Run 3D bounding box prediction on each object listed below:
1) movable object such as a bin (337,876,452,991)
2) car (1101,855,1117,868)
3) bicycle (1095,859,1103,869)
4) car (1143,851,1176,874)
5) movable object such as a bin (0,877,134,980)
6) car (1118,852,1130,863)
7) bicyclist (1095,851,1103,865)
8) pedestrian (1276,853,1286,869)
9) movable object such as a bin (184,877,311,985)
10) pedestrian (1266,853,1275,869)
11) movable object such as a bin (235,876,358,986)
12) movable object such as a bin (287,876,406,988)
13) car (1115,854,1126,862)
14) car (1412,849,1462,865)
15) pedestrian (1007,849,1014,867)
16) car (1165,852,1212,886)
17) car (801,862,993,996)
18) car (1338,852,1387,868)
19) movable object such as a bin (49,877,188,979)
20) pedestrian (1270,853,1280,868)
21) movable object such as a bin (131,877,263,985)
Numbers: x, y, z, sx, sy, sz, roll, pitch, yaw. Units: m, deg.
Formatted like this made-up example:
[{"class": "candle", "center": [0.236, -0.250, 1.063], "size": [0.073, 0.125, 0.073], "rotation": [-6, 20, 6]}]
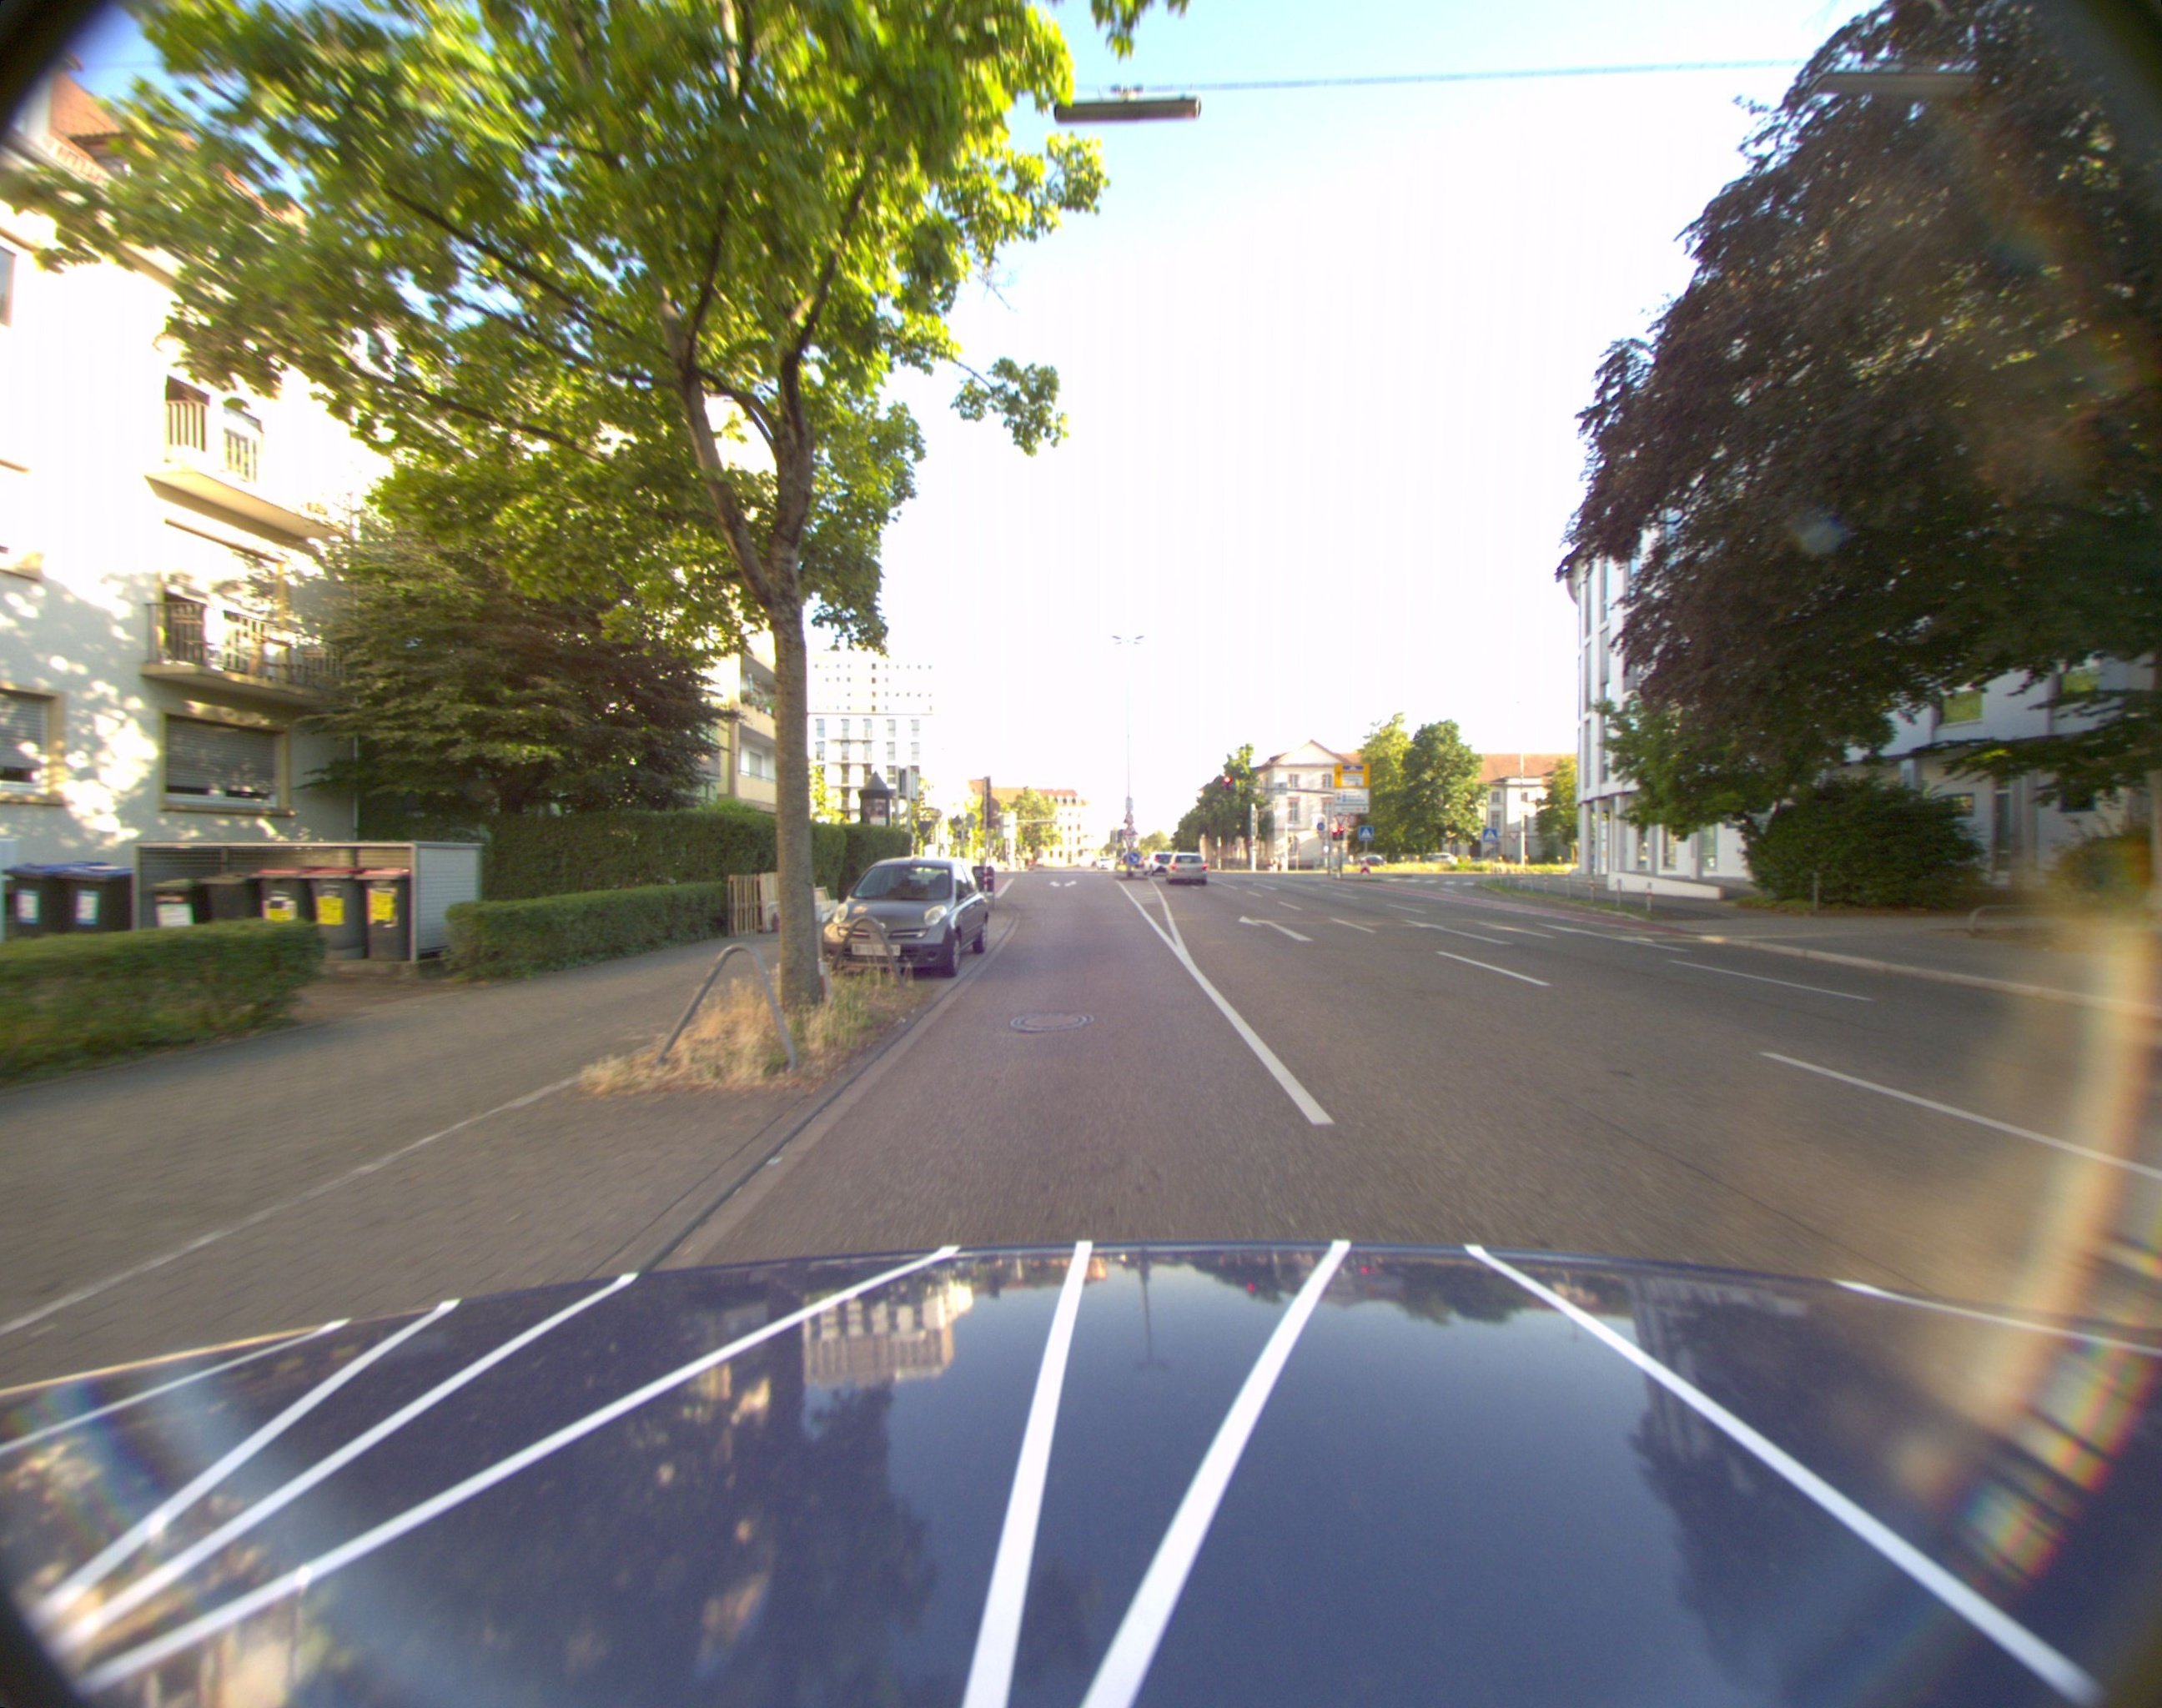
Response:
[{"class": "movable object such as a bin", "center": [-7.858, 0.885, 8.733], "size": [0.554, 1.232, 0.828], "rotation": [0, 0, 1]}, {"class": "car", "center": [3.243, 0.839, 88.368], "size": [1.764, 1.489, 3.708], "rotation": [0, 0, 1]}, {"class": "bicycle", "center": [2.004, 1.087, 83.960], "size": [0.833, 1.101, 2.080], "rotation": [0, 0, -1]}, {"class": "car", "center": [5.048, 0.531, 49.371], "size": [1.832, 1.452, 3.902], "rotation": [0, 0, 1]}, {"class": "movable object such as a bin", "center": [-11.790, 0.837, 8.813], "size": [0.554, 1.116, 0.828], "rotation": [0, 0, 1]}, {"class": "car", "center": [7.272, 0.517, 128.693], "size": [1.832, 1.836, 4.947], "rotation": [0, 0, 0]}, {"class": "bicyclist", "center": [1.999, 0.463, 83.971], "size": [0.838, 1.594, 1.023], "rotation": [0, 0, -1]}, {"class": "pedestrian", "center": [20.618, 0.705, 78.243], "size": [0.678, 1.641, 0.882], "rotation": [0, 0, -8]}, {"class": "movable object such as a bin", "center": [-9.672, 0.867, 8.851], "size": [0.554, 1.187, 0.828], "rotation": [0, 0, 1]}, {"class": "pedestrian", "center": [19.530, 0.747, 78.217], "size": [0.621, 1.641, 0.889], "rotation": [0, 0, -8]}, {"class": "movable object such as a bin", "center": [-9.076, 0.869, 8.819], "size": [0.554, 1.195, 0.828], "rotation": [0, 0, 1]}, {"class": "movable object such as a bin", "center": [-8.471, 0.877, 8.792], "size": [0.554, 1.214, 0.828], "rotation": [0, 0, 1]}, {"class": "car", "center": [7.447, 0.692, 142.160], "size": [1.765, 1.454, 4.292], "rotation": [0, 0, -1]}, {"class": "car", "center": [32.416, 0.306, 69.316], "size": [3.645, 1.437, 1.999], "rotation": [0, 0, -3]}, {"class": "pedestrian", "center": [-7.369, 0.456, 79.349], "size": [0.500, 1.866, 0.601], "rotation": [0, 0, -28]}, {"class": "car", "center": [5.012, 0.681, 35.974], "size": [1.831, 1.505, 4.606], "rotation": [0, 0, 4]}, {"class": "car", "center": [-2.371, 0.898, 10.725], "size": [1.736, 1.542, 3.646], "rotation": [0, 0, 1]}, {"class": "car", "center": [25.383, 0.533, 68.512], "size": [3.645, 1.437, 1.999], "rotation": [0, 0, -3]}, {"class": "movable object such as a bin", "center": [-11.171, 0.836, 8.848], "size": [0.554, 1.116, 0.828], "rotation": [0, 0, 1]}, {"class": "pedestrian", "center": [21.006, 0.707, 82.402], "size": [0.678, 1.698, 1.084], "rotation": [0, 0, -8]}, {"class": "movable object such as a bin", "center": [-10.297, 0.869, 8.884], "size": [0.554, 1.187, 0.828], "rotation": [0, 0, 1]}]
